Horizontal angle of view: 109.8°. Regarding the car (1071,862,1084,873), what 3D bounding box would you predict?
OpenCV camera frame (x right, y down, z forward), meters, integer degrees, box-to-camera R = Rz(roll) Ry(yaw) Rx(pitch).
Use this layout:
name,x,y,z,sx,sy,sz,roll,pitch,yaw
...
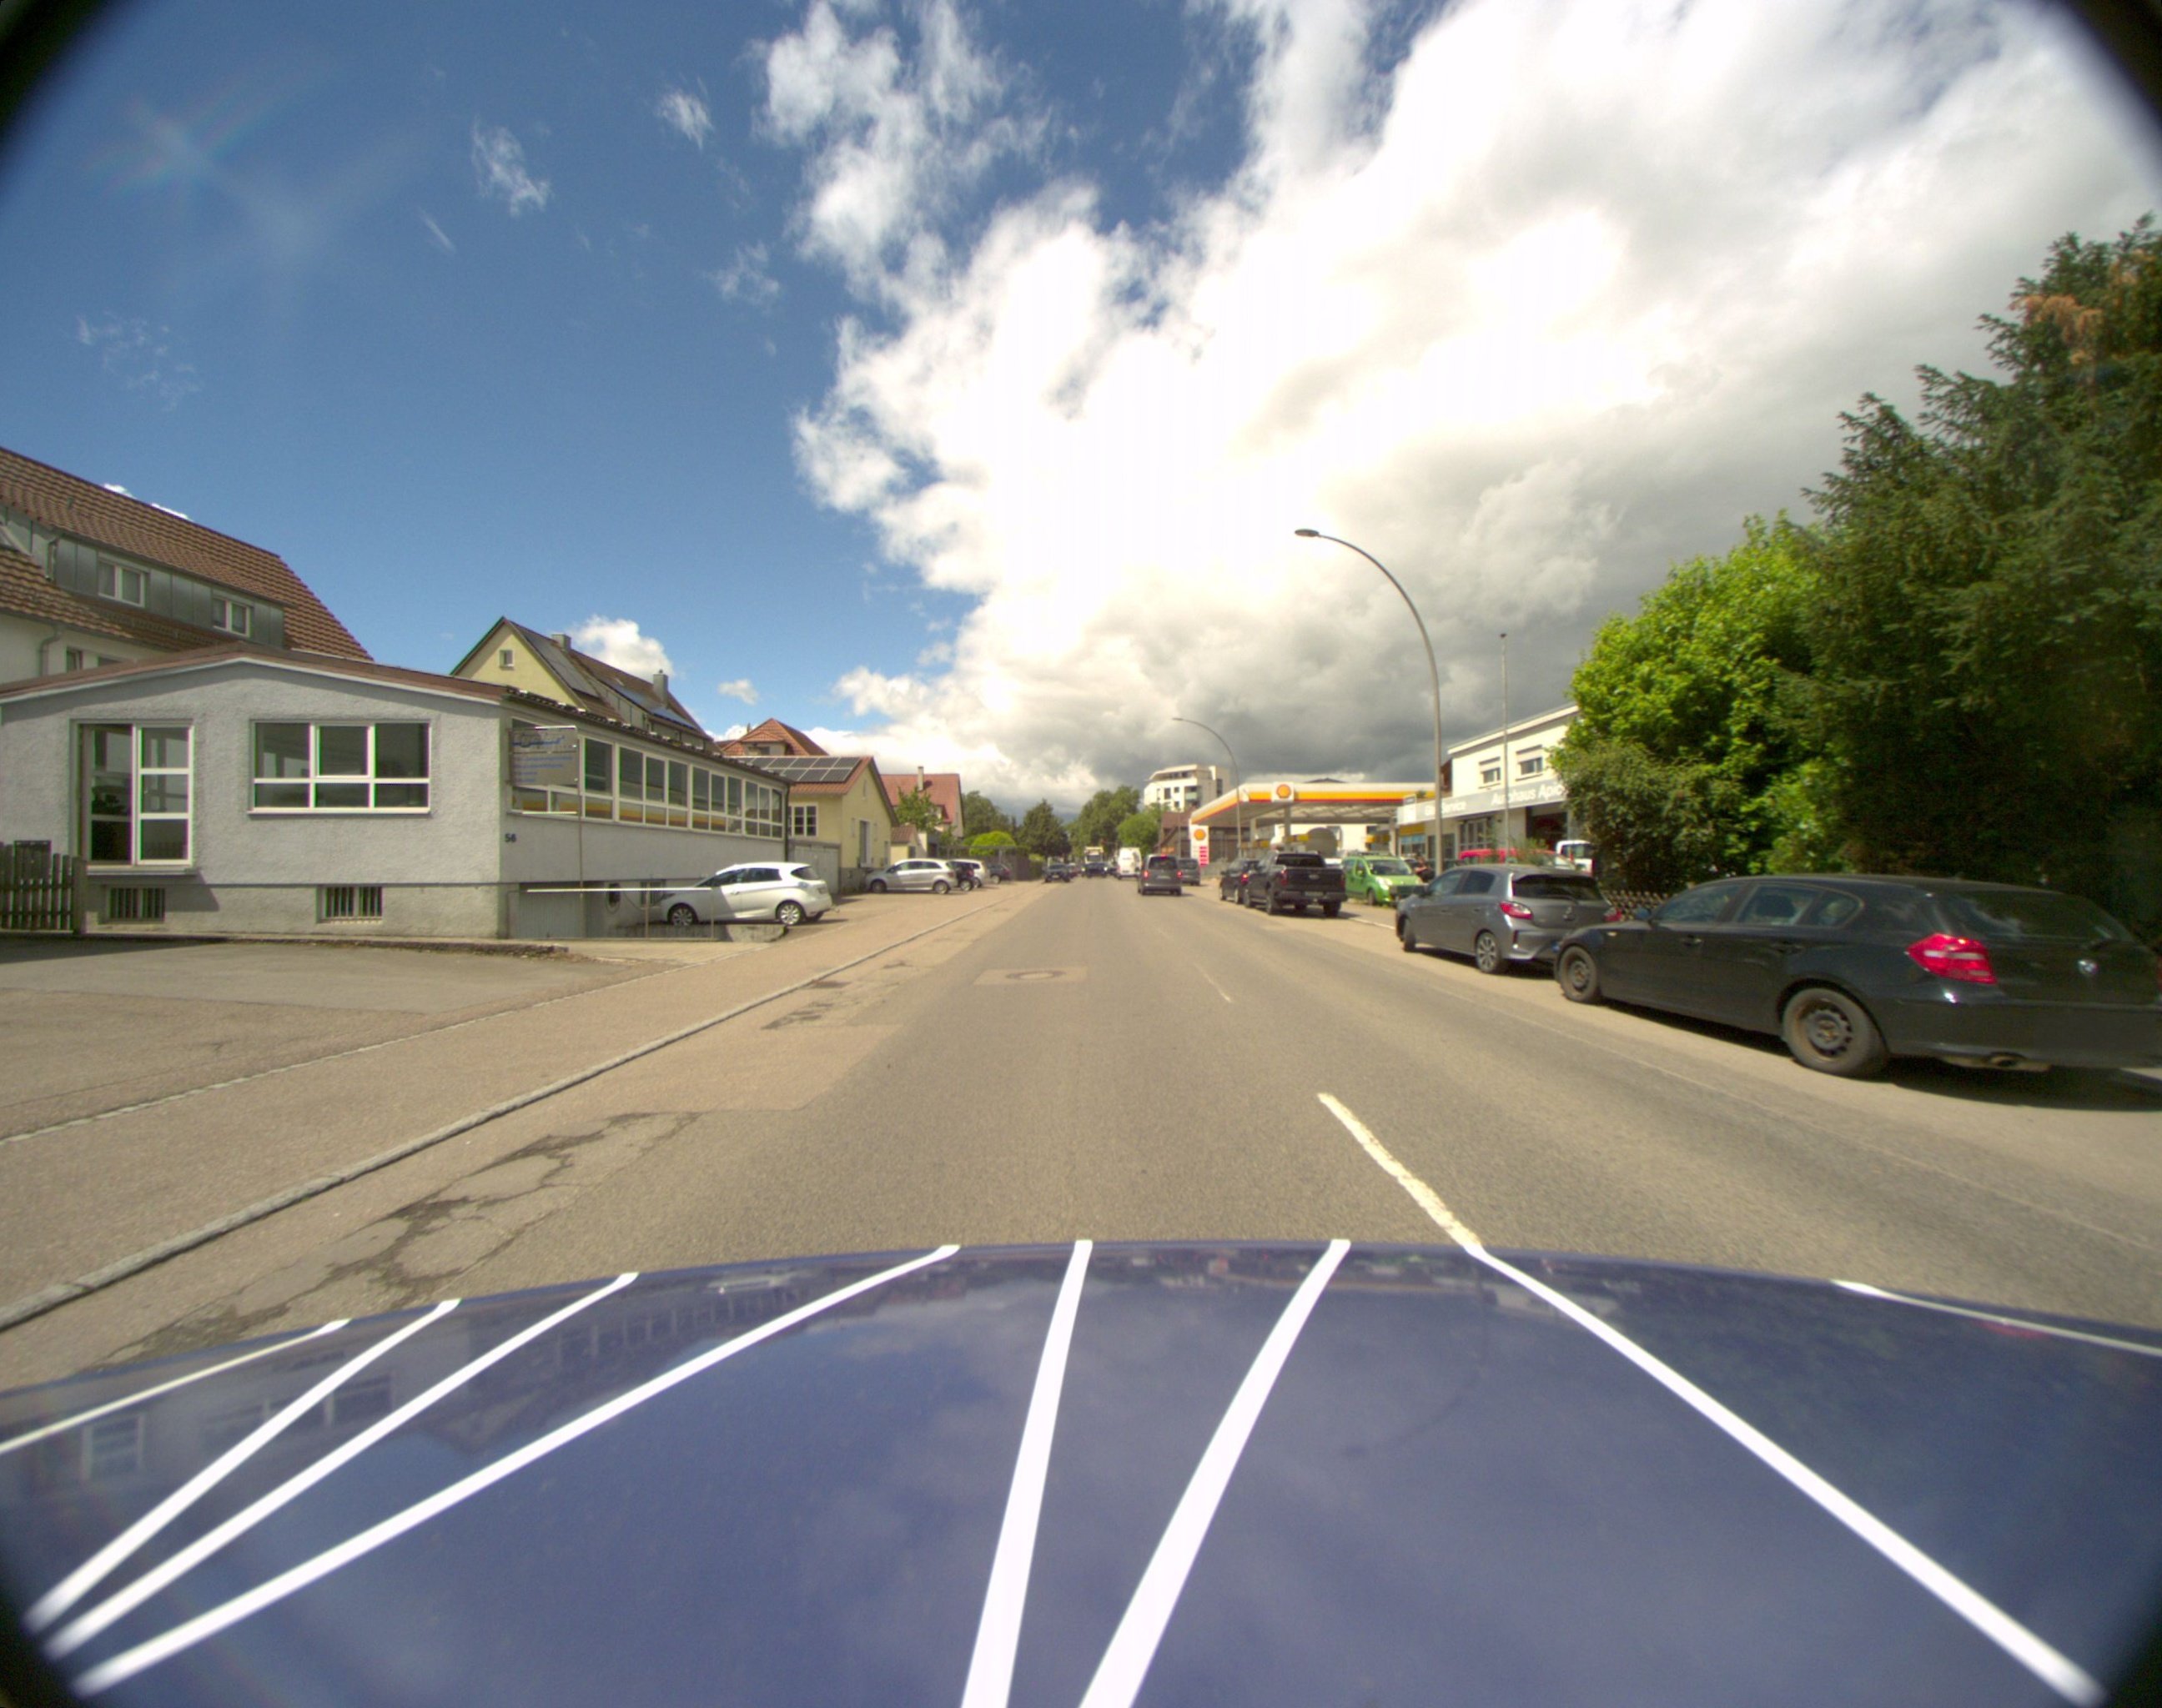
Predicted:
name,x,y,z,sx,sy,sz,roll,pitch,yaw
car,-0.488,1.974,114.343,1.789,1.555,3.880,-2,0,1

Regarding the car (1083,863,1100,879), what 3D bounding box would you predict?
name,x,y,z,sx,sy,sz,roll,pitch,yaw
car,1.231,1.992,88.309,1.891,1.708,3.999,0,0,0

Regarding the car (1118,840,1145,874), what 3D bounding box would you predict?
name,x,y,z,sx,sy,sz,roll,pitch,yaw
car,4.351,0.272,66.454,1.997,2.749,6.165,1,0,1

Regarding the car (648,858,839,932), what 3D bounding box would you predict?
name,x,y,z,sx,sy,sz,roll,pitch,yaw
car,-8.254,0.981,18.831,3.909,1.599,1.749,-2,0,-1

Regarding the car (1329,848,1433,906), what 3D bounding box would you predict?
name,x,y,z,sx,sy,sz,roll,pitch,yaw
car,10.167,0.741,26.121,1.797,1.775,4.338,-1,0,0

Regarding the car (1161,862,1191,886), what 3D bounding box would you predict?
name,x,y,z,sx,sy,sz,roll,pitch,yaw
car,6.806,1.404,54.722,1.667,1.505,4.190,3,0,1

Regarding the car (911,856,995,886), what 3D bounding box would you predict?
name,x,y,z,sx,sy,sz,roll,pitch,yaw
car,-7.247,0.968,43.262,4.419,1.516,1.974,2,0,-2

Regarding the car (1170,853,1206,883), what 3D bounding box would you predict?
name,x,y,z,sx,sy,sz,roll,pitch,yaw
car,6.858,0.880,49.084,1.733,1.727,4.190,3,0,1

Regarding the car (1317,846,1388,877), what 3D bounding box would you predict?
name,x,y,z,sx,sy,sz,roll,pitch,yaw
car,17.126,0.448,47.880,4.993,1.841,1.970,-1,0,-41

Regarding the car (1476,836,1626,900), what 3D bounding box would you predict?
name,x,y,z,sx,sy,sz,roll,pitch,yaw
car,16.124,0.427,26.341,1.883,1.969,4.332,-2,1,-14

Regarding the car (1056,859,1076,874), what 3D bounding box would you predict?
name,x,y,z,sx,sy,sz,roll,pitch,yaw
car,-1.488,1.235,76.192,1.789,1.435,3.772,-2,0,2

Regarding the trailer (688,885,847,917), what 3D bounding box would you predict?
name,x,y,z,sx,sy,sz,roll,pitch,yaw
trailer,-8.830,1.315,21.588,3.826,0.803,1.657,0,0,-1

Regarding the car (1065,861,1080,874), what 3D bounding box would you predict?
name,x,y,z,sx,sy,sz,roll,pitch,yaw
car,-1.110,1.782,98.483,1.789,1.555,3.880,-2,0,1

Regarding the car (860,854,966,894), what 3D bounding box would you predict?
name,x,y,z,sx,sy,sz,roll,pitch,yaw
car,-7.639,0.917,34.907,4.419,1.599,1.974,2,0,-2

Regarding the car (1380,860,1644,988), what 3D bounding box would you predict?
name,x,y,z,sx,sy,sz,roll,pitch,yaw
car,6.065,0.881,11.304,1.667,1.502,3.945,2,0,1

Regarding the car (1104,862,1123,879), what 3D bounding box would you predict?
name,x,y,z,sx,sy,sz,roll,pitch,yaw
car,3.278,1.677,77.843,1.789,1.555,3.880,-2,0,1

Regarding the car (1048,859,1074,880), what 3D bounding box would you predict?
name,x,y,z,sx,sy,sz,roll,pitch,yaw
car,-1.533,1.240,60.598,1.789,1.548,4.317,-2,0,2

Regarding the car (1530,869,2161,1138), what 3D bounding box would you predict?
name,x,y,z,sx,sy,sz,roll,pitch,yaw
car,5.920,0.895,6.447,1.667,1.427,4.339,2,0,1

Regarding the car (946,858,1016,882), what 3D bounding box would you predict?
name,x,y,z,sx,sy,sz,roll,pitch,yaw
car,-6.704,1.064,51.281,4.419,1.399,1.974,2,0,-2

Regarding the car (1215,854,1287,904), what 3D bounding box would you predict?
name,x,y,z,sx,sy,sz,roll,pitch,yaw
car,6.207,0.853,28.161,1.667,1.670,4.527,1,0,1

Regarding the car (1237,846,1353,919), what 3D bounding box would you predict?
name,x,y,z,sx,sy,sz,roll,pitch,yaw
car,6.163,0.777,22.646,1.915,1.810,5.430,3,0,1

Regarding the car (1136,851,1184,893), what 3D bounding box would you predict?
name,x,y,z,sx,sy,sz,roll,pitch,yaw
car,3.523,0.795,34.506,1.667,1.785,4.338,1,0,0

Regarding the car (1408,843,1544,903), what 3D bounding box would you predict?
name,x,y,z,sx,sy,sz,roll,pitch,yaw
car,13.262,0.583,25.847,1.798,1.775,4.334,-3,1,-10

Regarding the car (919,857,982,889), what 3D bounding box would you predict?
name,x,y,z,sx,sy,sz,roll,pitch,yaw
car,-6.756,0.993,39.549,2.895,1.516,1.974,2,0,-2

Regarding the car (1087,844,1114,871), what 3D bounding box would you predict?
name,x,y,z,sx,sy,sz,roll,pitch,yaw
car,2.668,0.492,105.589,3.263,3.596,10.268,-2,0,-1
